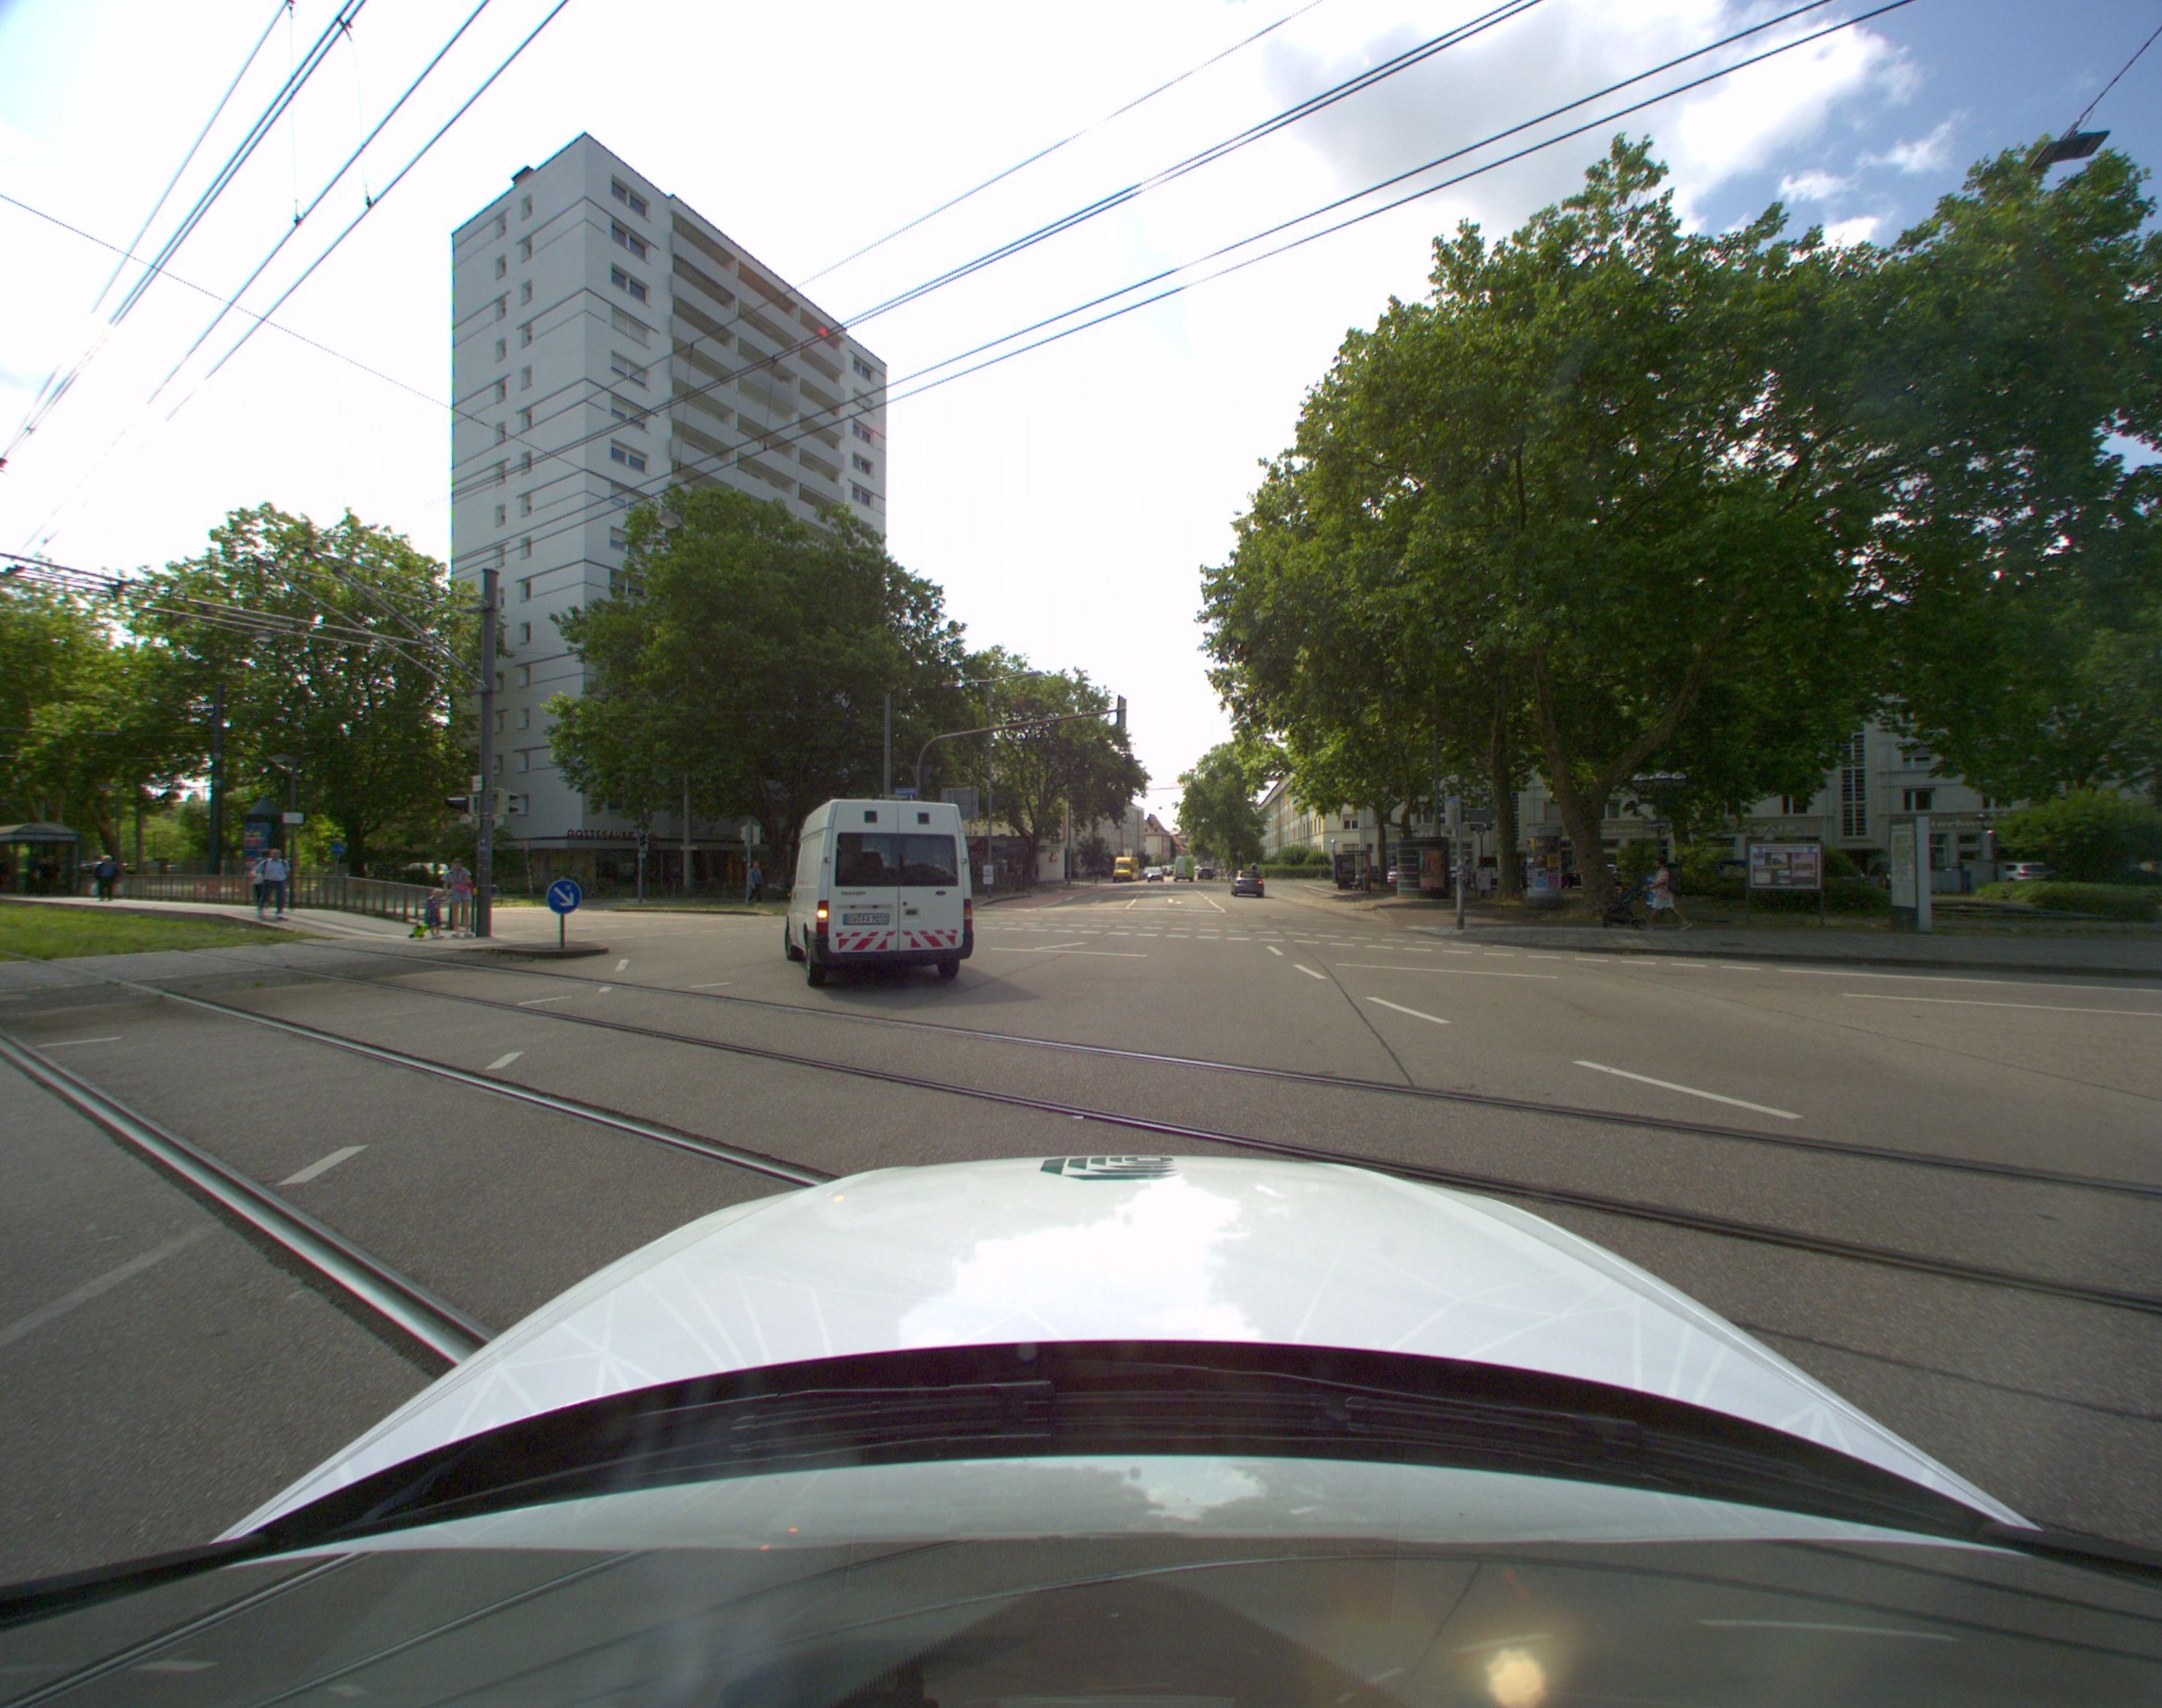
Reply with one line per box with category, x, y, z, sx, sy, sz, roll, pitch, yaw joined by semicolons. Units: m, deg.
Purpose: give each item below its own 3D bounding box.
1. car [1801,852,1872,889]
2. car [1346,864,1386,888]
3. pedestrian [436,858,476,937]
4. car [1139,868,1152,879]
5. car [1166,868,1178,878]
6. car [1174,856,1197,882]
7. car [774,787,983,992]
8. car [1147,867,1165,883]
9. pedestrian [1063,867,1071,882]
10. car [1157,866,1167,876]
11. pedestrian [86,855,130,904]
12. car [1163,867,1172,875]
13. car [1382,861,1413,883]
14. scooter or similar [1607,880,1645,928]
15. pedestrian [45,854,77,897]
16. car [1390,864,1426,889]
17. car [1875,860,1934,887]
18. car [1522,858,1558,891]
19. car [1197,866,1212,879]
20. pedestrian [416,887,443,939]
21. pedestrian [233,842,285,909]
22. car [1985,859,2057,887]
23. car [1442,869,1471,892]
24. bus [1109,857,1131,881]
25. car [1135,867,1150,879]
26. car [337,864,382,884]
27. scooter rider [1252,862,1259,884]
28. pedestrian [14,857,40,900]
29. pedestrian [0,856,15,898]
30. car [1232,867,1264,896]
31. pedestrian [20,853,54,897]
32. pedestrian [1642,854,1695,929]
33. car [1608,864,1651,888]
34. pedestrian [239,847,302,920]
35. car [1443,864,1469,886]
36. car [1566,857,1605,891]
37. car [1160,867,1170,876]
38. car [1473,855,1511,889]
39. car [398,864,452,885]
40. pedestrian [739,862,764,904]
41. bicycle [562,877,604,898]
car;43.281;0.918;46.751;1.975;2.014;4.024;-1;-1;28
car;20.600;1.566;58.729;2.008;1.600;4.566;-1;-1;28
pedestrian;-13.560;0.932;17.665;0.629;1.666;0.668;0;-1;-42
car;9.963;3.016;125.587;1.718;1.661;3.759;-1;0;9
car;15.466;3.205;138.833;1.851;1.661;3.759;-1;0;9
car;11.234;1.564;87.235;2.107;2.641;6.344;0;0;9
car;-3.163;0.420;11.864;2.058;2.333;4.674;0;-1;-26
car;8.236;2.335;89.419;1.776;1.661;4.325;0;0;8
pedestrian;-1.378;2.059;80.607;0.664;1.479;0.577;0;-1;14
car;15.033;3.127;150.947;1.642;1.932;3.759;-1;0;9
pedestrian;-35.882;0.940;30.039;0.865;1.775;0.865;-1;-1;29
car;17.624;3.501;165.812;1.691;1.661;3.759;-1;0;9
car;26.325;1.494;67.691;1.888;1.796;4.749;-1;-1;27
scooter or similar;12.579;1.148;18.819;0.699;1.056;0.494;-1;-1;31
pedestrian;-43.887;0.922;35.038;0.779;1.849;0.708;-1;-1;28
car;23.060;1.527;57.321;1.887;1.690;4.566;-1;-1;28
car;52.978;1.238;52.448;1.722;1.637;4.025;-1;-1;31
car;30.043;1.293;53.237;1.974;2.076;4.024;-1;-1;30
car;15.061;2.200;99.508;1.716;1.555;3.640;-1;-1;7
pedestrian;-13.585;1.218;16.981;0.422;1.063;0.431;1;-1;-41
pedestrian;-23.835;0.607;23.616;0.835;1.899;0.834;-1;-1;29
car;57.733;1.159;50.085;1.722;1.637;4.025;-1;-1;31
car;23.759;1.667;51.565;1.453;1.389;3.083;-1;-1;21
bus;4.636;1.723;95.069;2.383;2.709;6.377;-1;-1;4
car;8.537;2.609;112.133;1.835;1.562;4.008;-1;-1;8
car;-65.077;1.800;73.415;4.283;1.815;1.824;-1;-1;31
scooter rider;14.331;1.544;66.893;0.524;1.812;0.650;0;-1;5
pedestrian;-47.264;1.107;36.529;0.533;1.900;0.472;0;-1;5
pedestrian;-49.002;1.030;36.827;1.018;1.873;0.818;-1;-1;28
car;9.542;1.528;46.653;1.681;1.538;3.477;-1;0;9
pedestrian;-44.188;0.890;34.465;0.896;1.849;0.708;-1;-1;28
pedestrian;13.247;0.826;18.389;0.911;1.646;0.574;-1;-1;31
car;34.107;1.351;50.723;1.974;1.422;4.024;-1;-1;30
pedestrian;-20.378;0.721;20.471;1.031;1.780;0.856;-1;-1;30
car;25.431;1.412;55.256;1.452;1.389;3.253;-1;-1;23
car;31.996;1.251;51.719;1.974;2.076;4.024;-1;-1;30
car;16.426;3.392;158.940;1.650;1.661;3.759;-1;0;9
car;27.406;1.192;54.284;1.974;2.183;4.283;-1;-1;30
car;-54.866;1.690;68.124;4.712;1.756;1.752;-1;-1;27
pedestrian;-12.710;1.124;31.406;0.775;1.599;0.538;-1;-1;26
bicycle;-24.980;1.651;40.859;1.735;1.009;0.528;0;-1;-34
